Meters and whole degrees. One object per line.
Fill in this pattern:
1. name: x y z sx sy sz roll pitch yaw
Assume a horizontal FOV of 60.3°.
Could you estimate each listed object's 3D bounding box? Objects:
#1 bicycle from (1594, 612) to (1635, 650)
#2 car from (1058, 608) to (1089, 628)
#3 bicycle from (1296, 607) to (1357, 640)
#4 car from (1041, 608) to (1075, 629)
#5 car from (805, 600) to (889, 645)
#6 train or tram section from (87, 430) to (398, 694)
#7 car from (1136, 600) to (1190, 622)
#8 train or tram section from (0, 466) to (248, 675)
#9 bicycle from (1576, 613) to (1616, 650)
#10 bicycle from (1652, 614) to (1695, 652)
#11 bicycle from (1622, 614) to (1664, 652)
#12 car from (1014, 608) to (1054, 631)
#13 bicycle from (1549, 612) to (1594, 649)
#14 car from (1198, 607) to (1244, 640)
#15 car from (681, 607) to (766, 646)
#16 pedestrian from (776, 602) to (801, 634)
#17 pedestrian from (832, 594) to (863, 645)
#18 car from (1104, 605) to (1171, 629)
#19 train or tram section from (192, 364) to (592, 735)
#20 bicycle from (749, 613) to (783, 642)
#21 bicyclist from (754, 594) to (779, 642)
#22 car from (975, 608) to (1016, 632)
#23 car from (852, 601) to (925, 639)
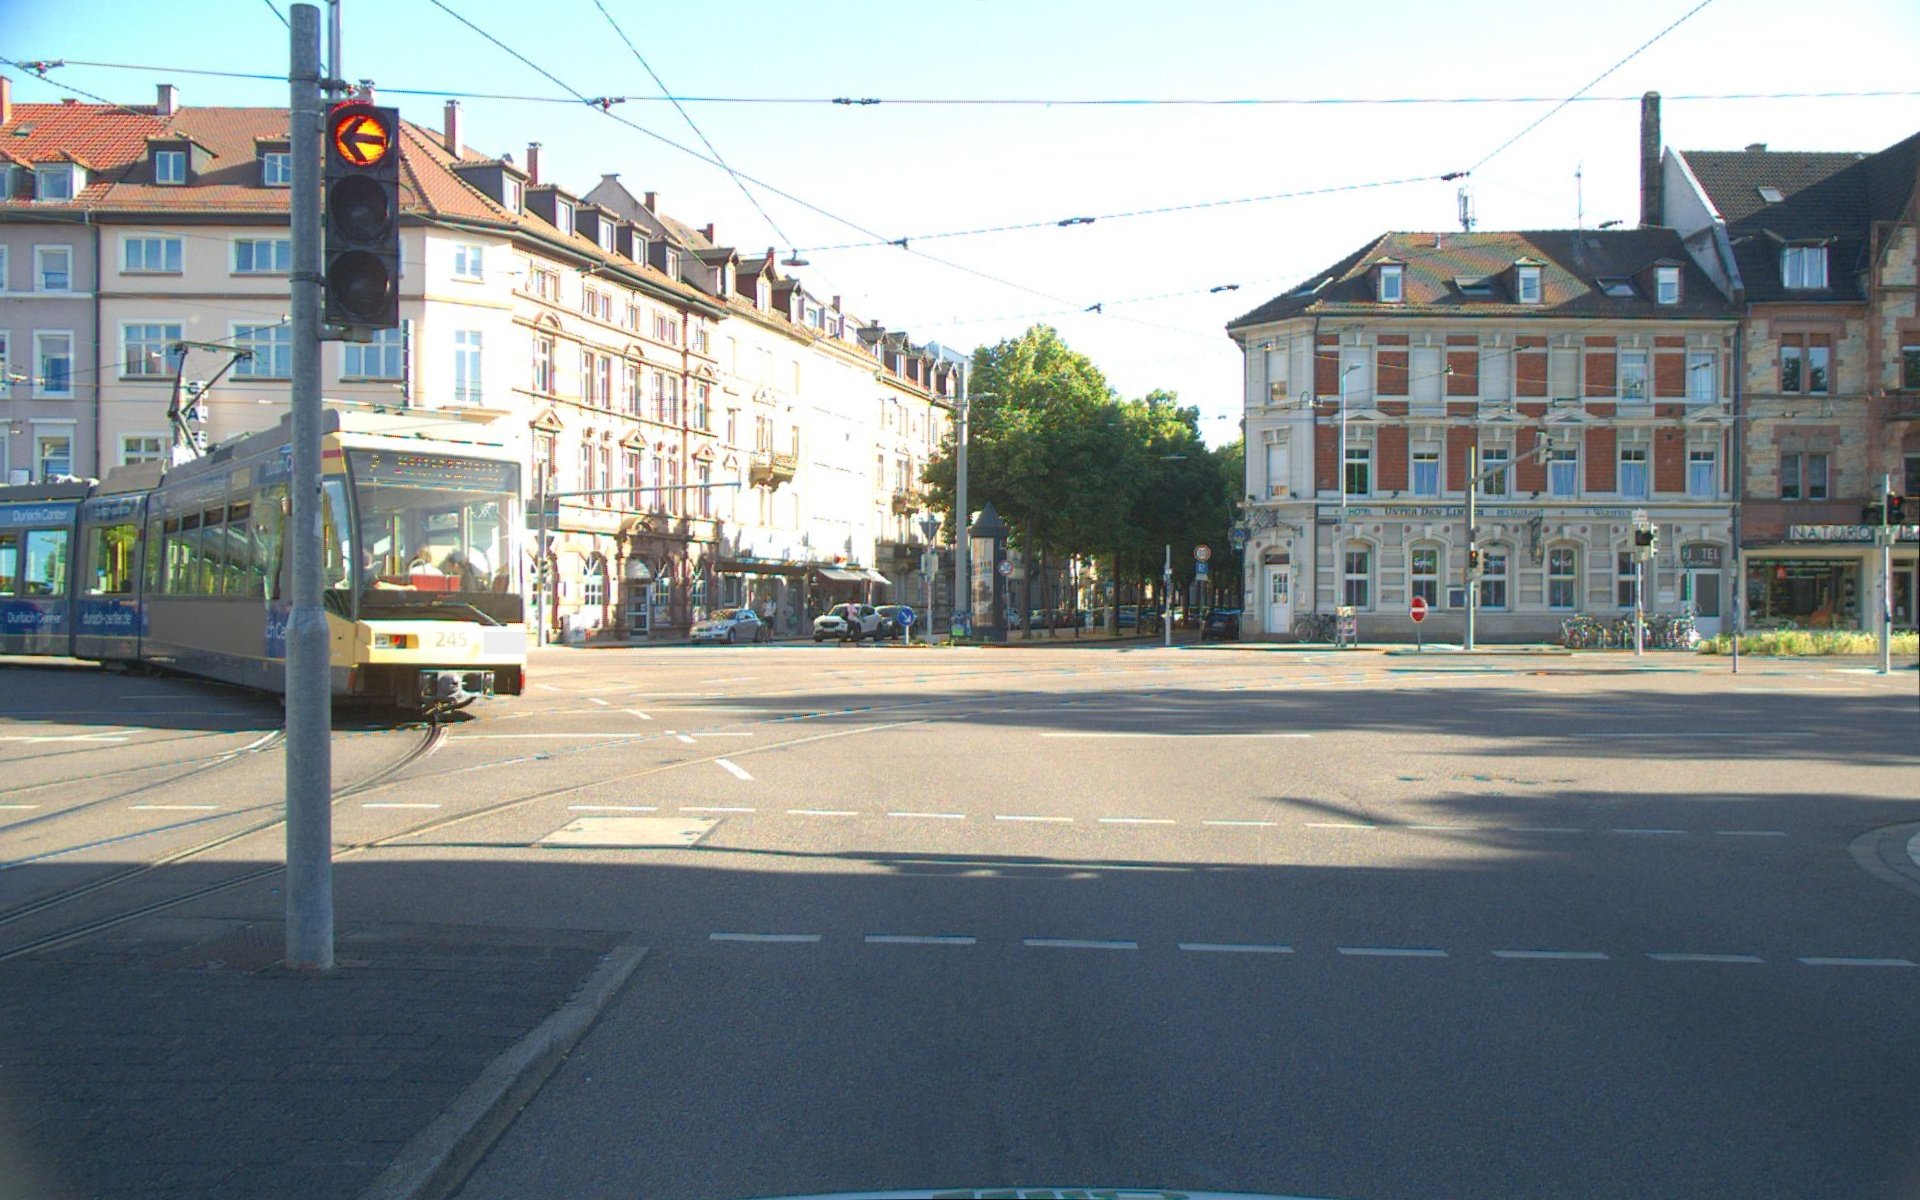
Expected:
1. bicycle: 21.165 0.993 53.525 0.605 1.163 2.175 0 0 4
2. car: 9.380 1.454 136.477 1.727 1.576 4.394 0 0 16
3. bicycle: 12.750 0.817 57.597 2.045 1.144 0.366 1 -1 -5
4. car: 7.768 1.416 130.576 1.798 1.579 4.393 0 0 16
5. car: -4.545 0.882 67.265 1.951 1.713 4.393 0 0 17
6. train or tram section: -11.735 -0.538 26.506 2.793 3.561 8.351 0 0 -37
7. car: 16.406 0.878 133.887 3.912 1.736 1.996 0 0 30
8. train or tram section: -18.913 -0.527 32.451 11.769 3.561 2.773 0 0 31
9. bicycle: 20.593 0.998 53.555 0.605 1.163 2.175 0 0 4
10. bicycle: 23.037 1.058 53.414 0.596 1.156 2.136 0 0 4
11. bicycle: 22.072 1.055 53.466 0.605 1.163 2.175 0 0 4
12. car: 5.516 1.419 122.751 1.951 1.640 4.393 0 0 17
13. bicycle: 19.821 0.988 53.673 0.789 1.163 2.175 0 0 4
14. car: 13.065 1.157 82.648 1.951 1.613 4.003 0 0 13
15. car: -9.528 1.033 66.910 1.858 1.481 4.002 0 0 17
16. pedestrian: -8.527 0.901 82.092 0.908 1.562 1.138 0 0 13
17. pedestrian: -3.936 0.671 57.804 1.026 1.774 0.807 0 0 -7
18. car: 12.380 1.192 115.484 4.290 1.640 1.998 0 0 26
19. train or tram section: -7.165 -0.506 19.967 2.789 3.561 7.871 0 0 -33
20. bicycle: -7.598 1.079 64.900 0.665 1.085 2.127 0 0 12
21. bicyclist: -7.587 0.692 64.942 0.664 1.852 1.071 0 0 12
22. car: 2.403 1.320 111.003 1.951 1.512 4.003 0 0 13
23. car: -3.151 0.859 73.800 1.951 1.640 4.393 0 0 17
